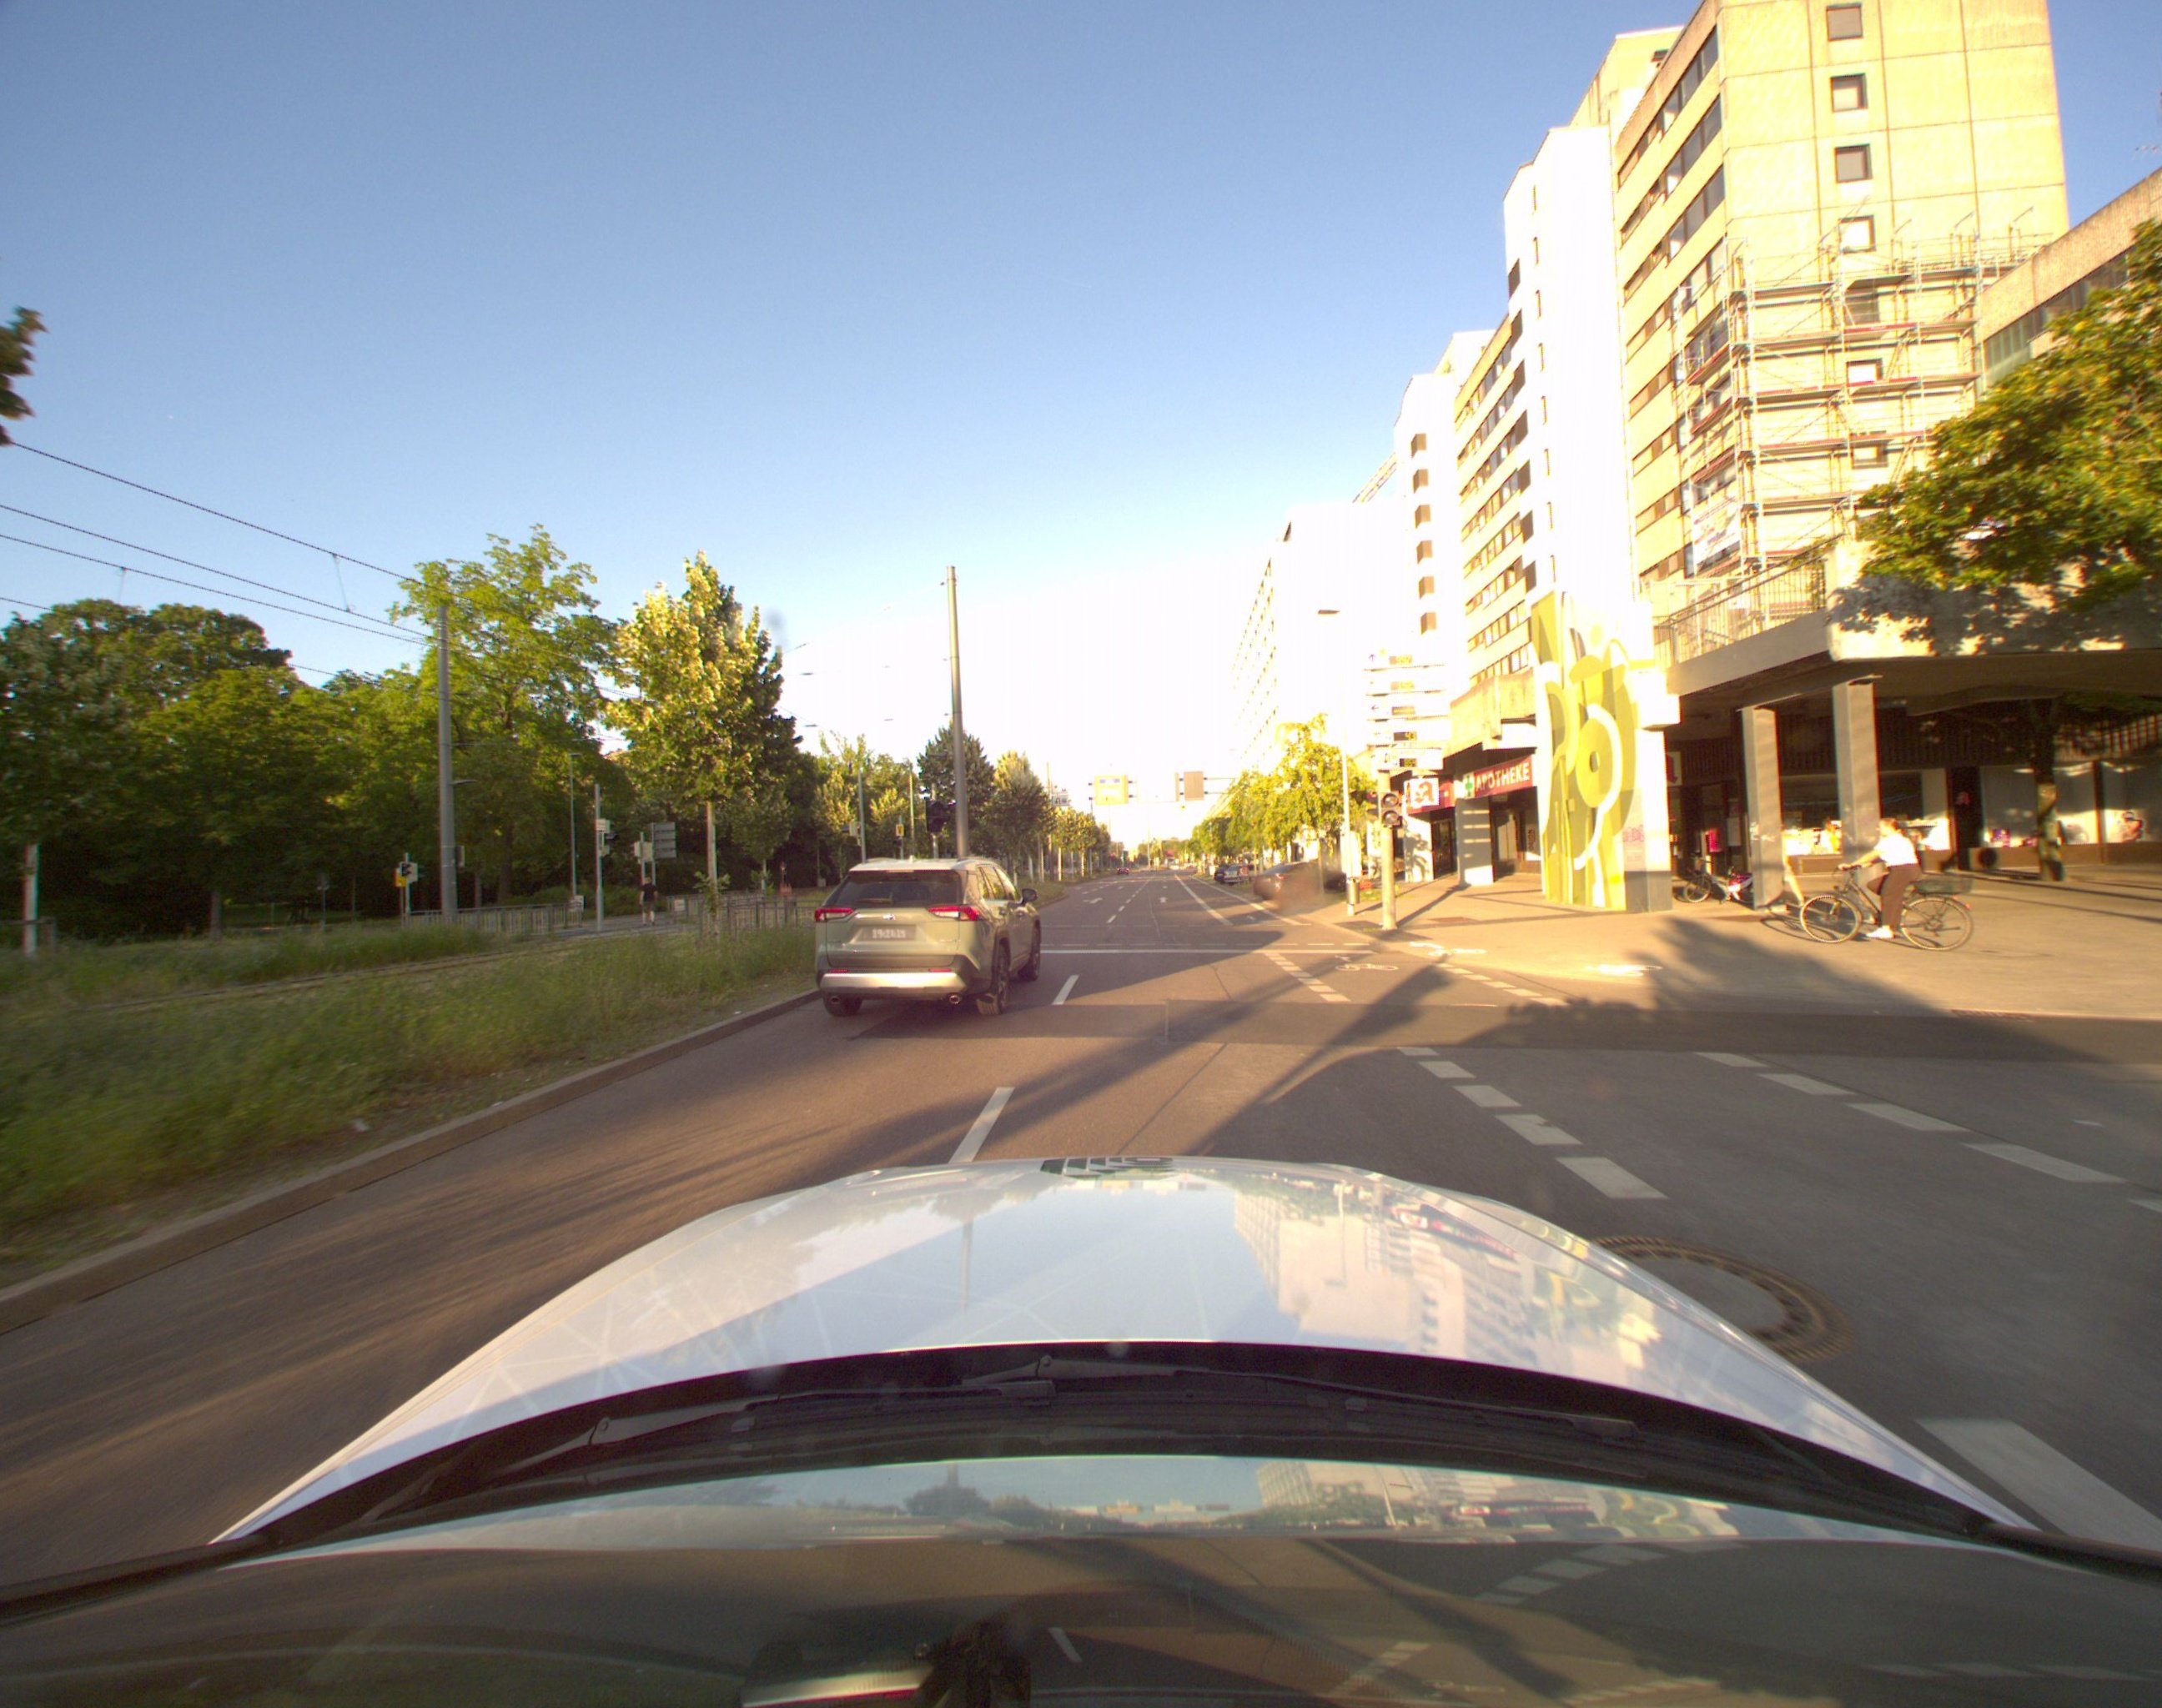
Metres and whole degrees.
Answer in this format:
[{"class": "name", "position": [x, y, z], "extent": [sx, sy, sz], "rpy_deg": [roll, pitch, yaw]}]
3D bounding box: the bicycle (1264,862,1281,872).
[{"class": "bicycle", "position": [21.406, 1.458, 90.998], "extent": [1.693, 0.986, 0.551], "rpy_deg": [-4, -1, 2]}]

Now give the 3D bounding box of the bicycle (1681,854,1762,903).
[{"class": "bicycle", "position": [14.330, 0.534, 18.246], "extent": [0.458, 1.047, 1.326], "rpy_deg": [-3, 0, -24]}]

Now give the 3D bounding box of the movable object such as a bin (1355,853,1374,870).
[{"class": "movable object such as a bin", "position": [23.368, 0.646, 67.209], "extent": [1.176, 1.313, 1.089], "rpy_deg": [-3, -1, 4]}]

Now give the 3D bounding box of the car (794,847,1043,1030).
[{"class": "car", "position": [-1.633, 0.818, 9.767], "extent": [1.826, 1.672, 4.287], "rpy_deg": [-1, -1, 4]}]

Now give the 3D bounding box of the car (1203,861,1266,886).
[{"class": "car", "position": [11.811, 1.503, 62.441], "extent": [4.689, 1.508, 1.919], "rpy_deg": [-4, -2, -34]}]

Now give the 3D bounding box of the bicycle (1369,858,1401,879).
[{"class": "bicycle", "position": [17.098, 0.793, 45.770], "extent": [1.565, 1.048, 0.433], "rpy_deg": [-5, -1, 3]}]

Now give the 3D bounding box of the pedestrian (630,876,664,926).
[{"class": "pedestrian", "position": [-14.635, 1.572, 27.475], "extent": [0.663, 1.607, 0.682], "rpy_deg": [0, 4, 26]}]

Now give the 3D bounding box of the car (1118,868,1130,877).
[{"class": "car", "position": [6.540, 2.805, 123.771], "extent": [1.666, 1.352, 4.006], "rpy_deg": [-1, -1, 6]}]

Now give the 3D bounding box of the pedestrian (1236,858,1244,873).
[{"class": "pedestrian", "position": [20.618, 1.537, 105.449], "extent": [0.738, 1.849, 0.944], "rpy_deg": [-5, -2, 14]}]

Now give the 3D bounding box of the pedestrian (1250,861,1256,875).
[{"class": "pedestrian", "position": [21.035, 1.742, 99.563], "extent": [0.574, 1.619, 0.643], "rpy_deg": [-4, -1, 2]}]

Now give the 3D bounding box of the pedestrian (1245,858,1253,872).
[{"class": "pedestrian", "position": [21.770, 1.424, 105.624], "extent": [0.751, 1.824, 0.944], "rpy_deg": [-5, -2, 14]}]

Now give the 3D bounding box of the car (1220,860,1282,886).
[{"class": "car", "position": [11.627, 1.279, 55.657], "extent": [4.006, 1.417, 1.733], "rpy_deg": [-4, -2, -33]}]

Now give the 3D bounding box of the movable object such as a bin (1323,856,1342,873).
[{"class": "movable object such as a bin", "position": [20.772, 0.844, 67.287], "extent": [1.176, 1.299, 1.306], "rpy_deg": [-3, -1, 4]}]

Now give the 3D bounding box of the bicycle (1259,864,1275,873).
[{"class": "bicycle", "position": [21.841, 1.681, 95.772], "extent": [1.693, 0.986, 0.551], "rpy_deg": [-4, -1, 2]}]

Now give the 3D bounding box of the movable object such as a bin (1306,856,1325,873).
[{"class": "movable object such as a bin", "position": [19.401, 0.885, 67.290], "extent": [1.176, 1.323, 1.268], "rpy_deg": [-5, -1, 4]}]

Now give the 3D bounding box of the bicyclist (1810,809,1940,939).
[{"class": "bicyclist", "position": [10.985, 0.272, 11.287], "extent": [0.821, 1.692, 0.954], "rpy_deg": [-3, -1, -23]}]

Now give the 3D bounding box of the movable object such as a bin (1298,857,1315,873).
[{"class": "movable object such as a bin", "position": [19.862, 0.984, 71.679], "extent": [1.100, 1.330, 1.284], "rpy_deg": [-4, -1, 4]}]

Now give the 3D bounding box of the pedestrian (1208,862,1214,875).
[{"class": "pedestrian", "position": [18.325, 2.018, 114.909], "extent": [0.650, 1.702, 0.690], "rpy_deg": [-4, -1, 5]}]

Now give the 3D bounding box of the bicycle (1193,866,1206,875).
[{"class": "bicycle", "position": [17.884, 2.525, 123.104], "extent": [1.787, 1.193, 0.568], "rpy_deg": [-5, -1, 0]}]

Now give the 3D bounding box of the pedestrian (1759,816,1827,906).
[{"class": "pedestrian", "position": [14.553, 0.137, 16.664], "extent": [0.724, 1.750, 0.694], "rpy_deg": [-5, 1, -18]}]

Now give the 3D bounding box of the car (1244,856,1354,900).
[{"class": "car", "position": [9.065, 0.970, 33.715], "extent": [4.627, 1.453, 1.794], "rpy_deg": [-4, -1, -36]}]

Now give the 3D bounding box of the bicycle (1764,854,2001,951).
[{"class": "bicycle", "position": [10.999, 0.646, 11.298], "extent": [0.821, 1.173, 2.132], "rpy_deg": [-3, -1, -22]}]

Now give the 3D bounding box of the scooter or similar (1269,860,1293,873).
[{"class": "scooter or similar", "position": [21.495, 1.351, 87.608], "extent": [2.361, 1.183, 0.621], "rpy_deg": [-4, -1, 4]}]

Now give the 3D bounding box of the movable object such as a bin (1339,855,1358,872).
[{"class": "movable object such as a bin", "position": [22.097, 0.772, 67.293], "extent": [1.176, 1.313, 1.126], "rpy_deg": [-3, -1, 4]}]
